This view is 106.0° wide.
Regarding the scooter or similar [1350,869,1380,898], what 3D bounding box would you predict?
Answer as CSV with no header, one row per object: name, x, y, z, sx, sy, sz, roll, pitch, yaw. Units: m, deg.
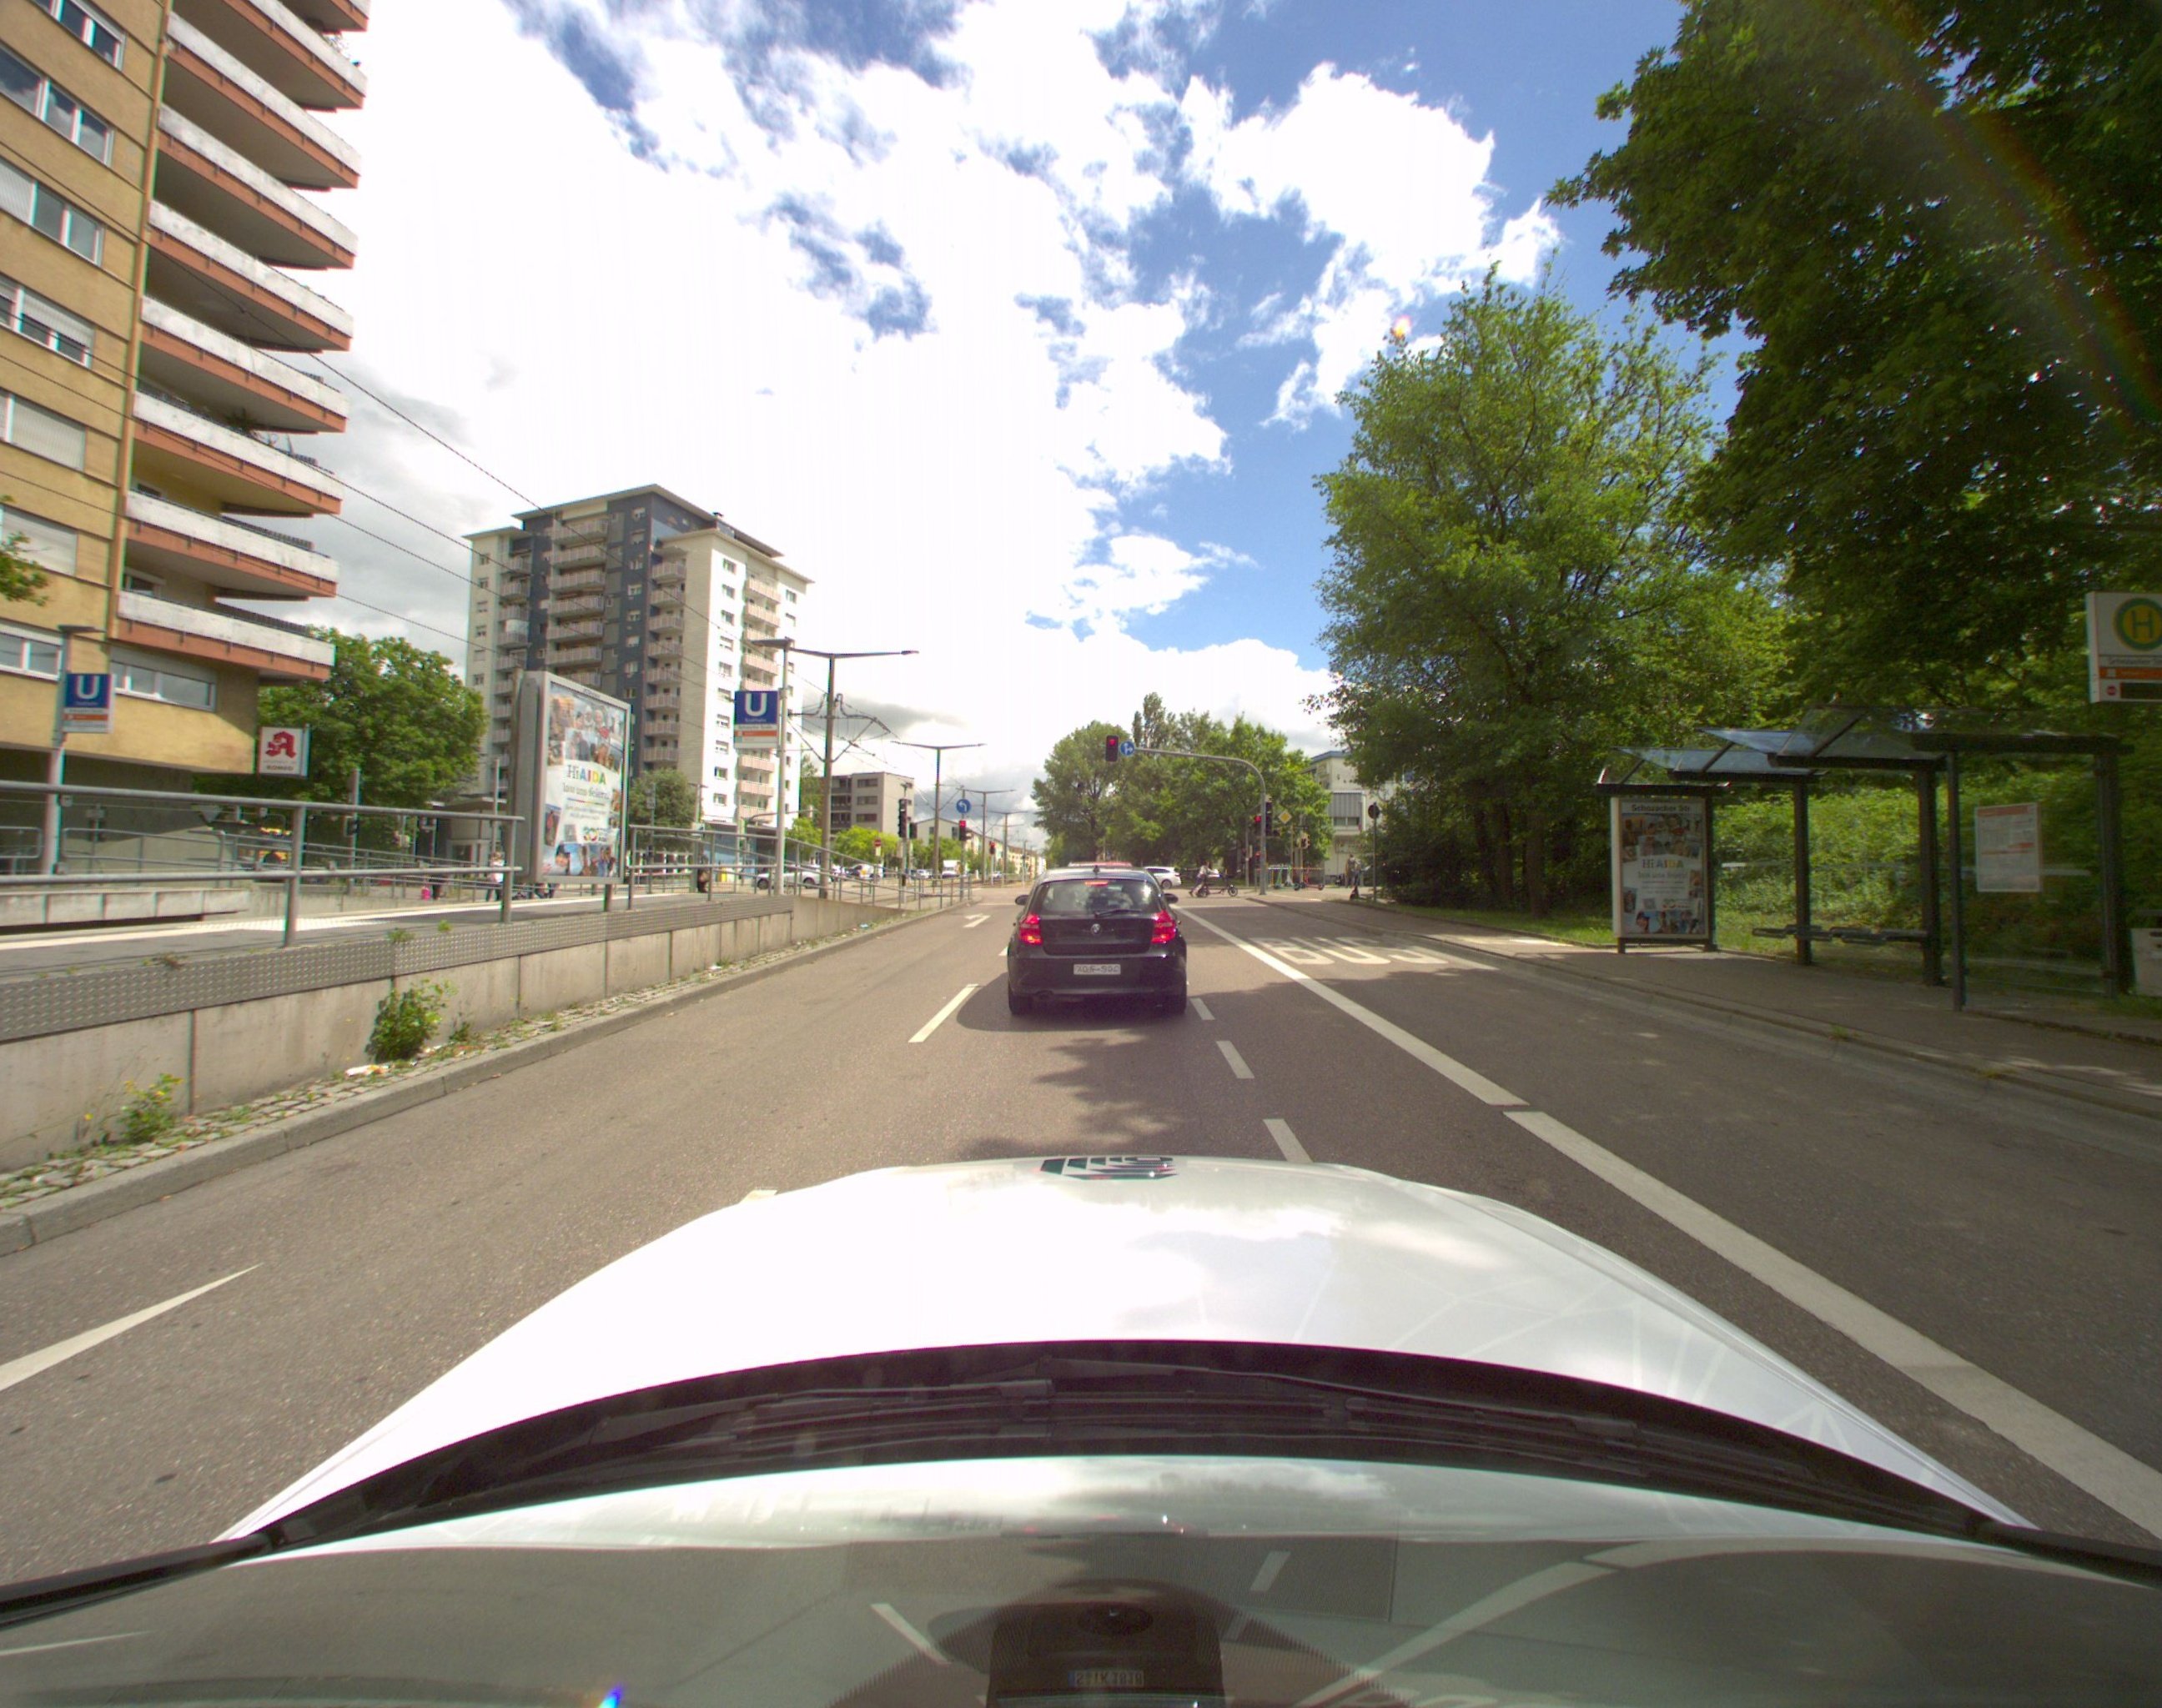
scooter or similar,10.855,1.130,31.141,1.153,1.099,0.329,0,-1,-22

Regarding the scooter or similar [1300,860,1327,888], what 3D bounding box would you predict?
scooter or similar,10.389,0.895,36.380,1.107,1.258,0.331,-1,-1,-10

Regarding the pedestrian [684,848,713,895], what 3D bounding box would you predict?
pedestrian,-13.596,0.620,28.952,0.699,1.633,0.637,-1,-1,-5

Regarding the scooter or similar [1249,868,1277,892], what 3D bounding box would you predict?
scooter or similar,7.655,1.089,34.324,1.121,0.957,0.299,-1,-1,-14

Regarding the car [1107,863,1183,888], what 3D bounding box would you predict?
car,4.087,1.350,52.448,4.635,1.480,1.995,-1,0,-7

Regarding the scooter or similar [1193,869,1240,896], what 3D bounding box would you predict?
scooter or similar,5.359,1.120,32.207,1.779,1.051,0.409,-1,0,-7

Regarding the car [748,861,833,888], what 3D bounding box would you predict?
car,-17.628,1.236,49.637,4.571,1.526,1.939,-1,0,-9

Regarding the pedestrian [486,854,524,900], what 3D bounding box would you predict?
pedestrian,-19.686,0.782,27.843,0.852,1.578,0.626,0,-1,12

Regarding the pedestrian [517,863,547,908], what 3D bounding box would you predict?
pedestrian,-16.828,0.950,24.985,0.691,1.343,0.852,0,0,-29

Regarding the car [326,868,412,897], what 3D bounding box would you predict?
car,-44.095,1.760,50.503,3.674,1.680,1.742,-1,-1,-3

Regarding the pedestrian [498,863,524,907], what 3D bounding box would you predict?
pedestrian,-17.808,0.965,25.451,0.660,1.343,0.558,-1,-1,44

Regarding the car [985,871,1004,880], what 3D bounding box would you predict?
car,-17.384,4.337,164.396,1.949,1.596,4.023,-1,0,25

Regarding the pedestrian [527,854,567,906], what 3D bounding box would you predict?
pedestrian,-17.615,0.843,26.868,0.854,1.696,0.690,0,-1,3

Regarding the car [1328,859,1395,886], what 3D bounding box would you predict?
car,17.394,1.141,50.632,3.578,1.601,1.705,0,-1,-11

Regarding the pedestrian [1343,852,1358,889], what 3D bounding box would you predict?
pedestrian,13.312,0.818,40.255,0.608,1.790,0.571,3,-1,20

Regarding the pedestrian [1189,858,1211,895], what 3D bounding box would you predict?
pedestrian,4.779,0.905,32.680,0.860,1.442,0.800,-1,-1,7

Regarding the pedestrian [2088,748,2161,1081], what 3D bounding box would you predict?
pedestrian,6.538,0.344,4.330,0.798,1.895,1.271,0,-1,3

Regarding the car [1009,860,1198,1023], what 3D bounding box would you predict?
car,0.306,0.786,8.932,1.647,1.419,3.520,-1,0,3

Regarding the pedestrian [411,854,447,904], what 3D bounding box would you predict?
pedestrian,-21.104,0.794,26.353,0.602,1.583,0.779,-1,-1,37

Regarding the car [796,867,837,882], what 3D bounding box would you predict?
car,-26.318,2.015,81.243,3.600,1.462,1.612,-1,-1,-7

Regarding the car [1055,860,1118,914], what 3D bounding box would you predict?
car,0.157,0.896,23.420,1.649,1.419,3.516,0,0,0

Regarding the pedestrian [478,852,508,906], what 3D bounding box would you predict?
pedestrian,-18.936,0.791,26.230,0.685,1.706,0.817,0,-1,-42

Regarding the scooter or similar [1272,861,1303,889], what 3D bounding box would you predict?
scooter or similar,9.030,0.925,35.562,1.290,1.189,0.383,-1,-1,-14

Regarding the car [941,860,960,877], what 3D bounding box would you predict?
car,-21.279,2.357,132.903,2.132,2.640,5.358,0,0,0

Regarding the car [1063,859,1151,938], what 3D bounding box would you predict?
car,0.551,0.817,16.575,1.588,1.419,3.519,-1,0,2
